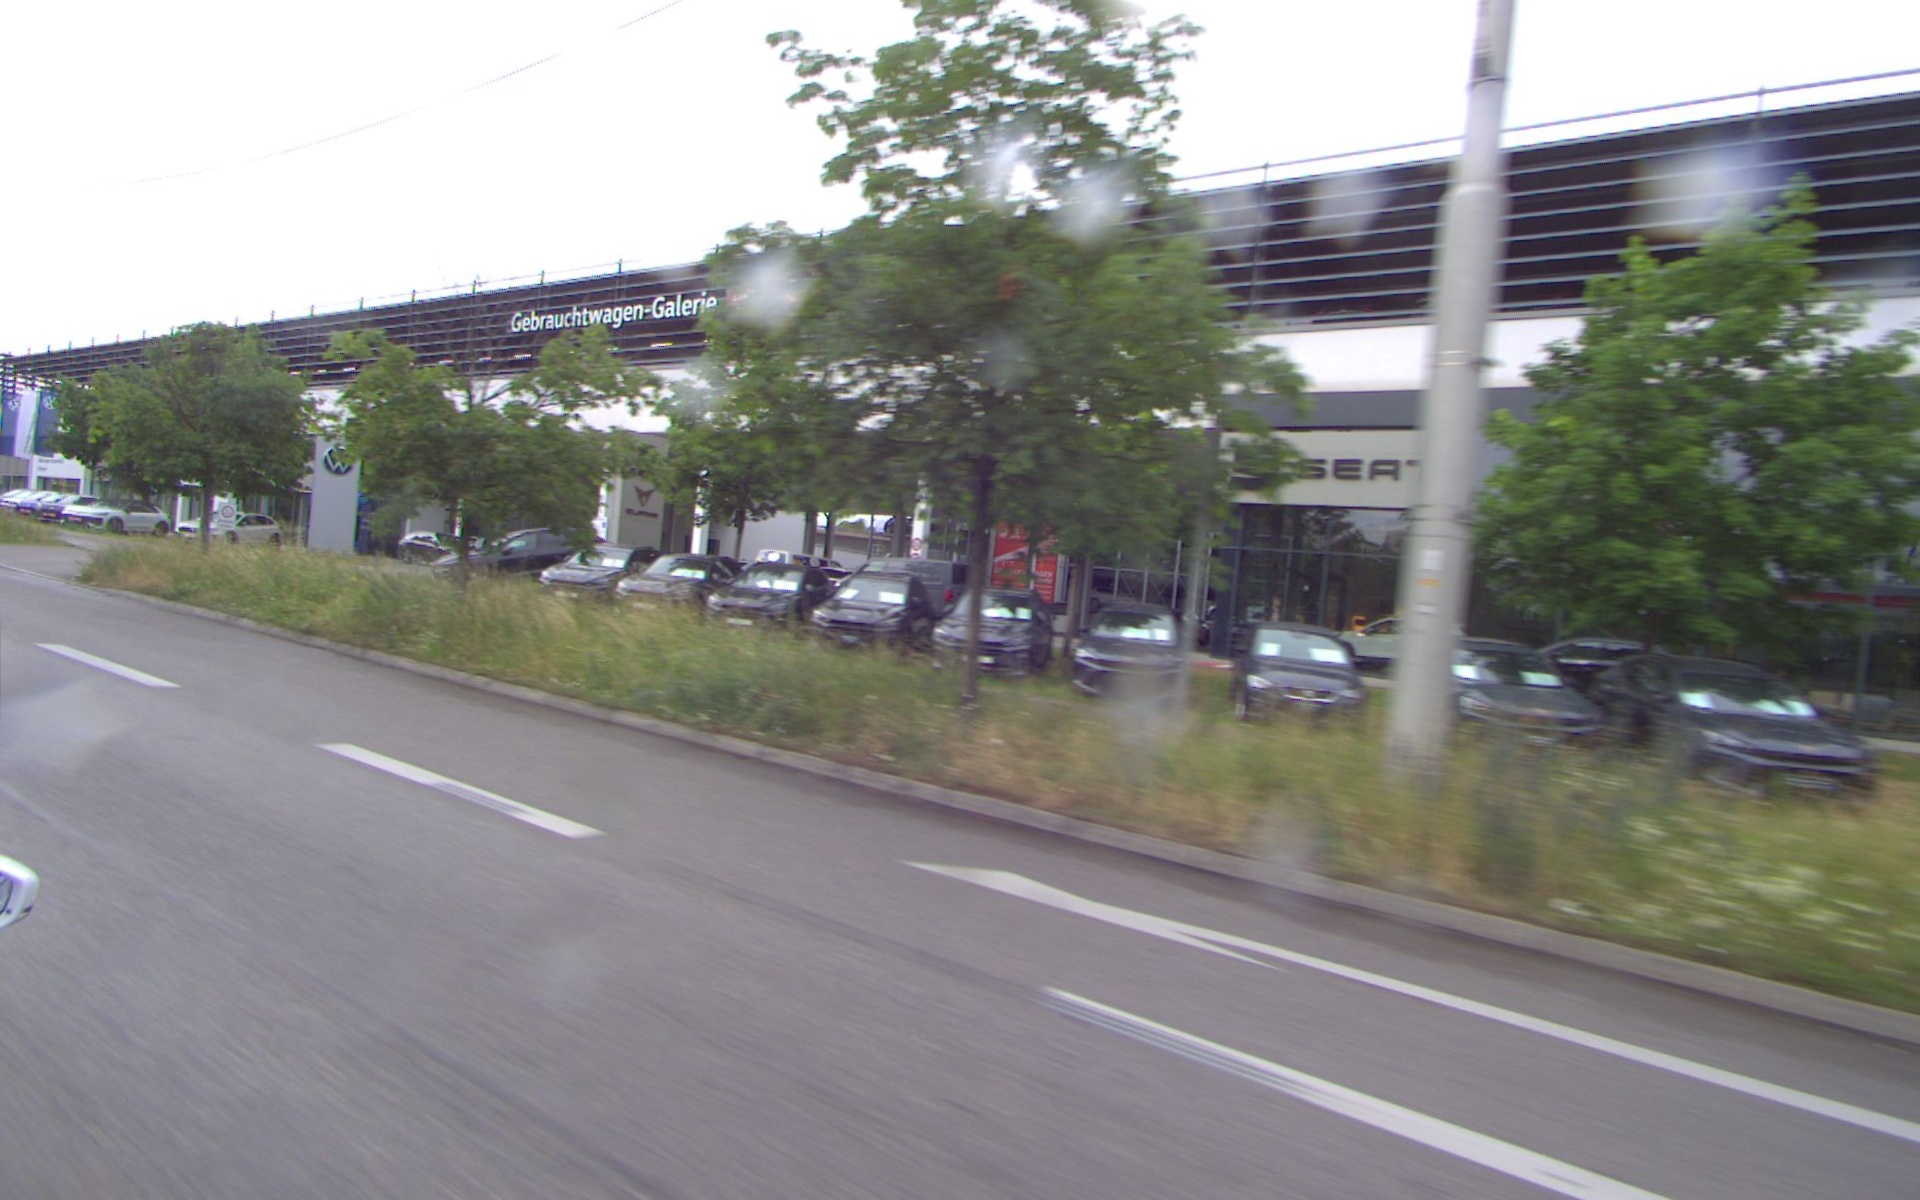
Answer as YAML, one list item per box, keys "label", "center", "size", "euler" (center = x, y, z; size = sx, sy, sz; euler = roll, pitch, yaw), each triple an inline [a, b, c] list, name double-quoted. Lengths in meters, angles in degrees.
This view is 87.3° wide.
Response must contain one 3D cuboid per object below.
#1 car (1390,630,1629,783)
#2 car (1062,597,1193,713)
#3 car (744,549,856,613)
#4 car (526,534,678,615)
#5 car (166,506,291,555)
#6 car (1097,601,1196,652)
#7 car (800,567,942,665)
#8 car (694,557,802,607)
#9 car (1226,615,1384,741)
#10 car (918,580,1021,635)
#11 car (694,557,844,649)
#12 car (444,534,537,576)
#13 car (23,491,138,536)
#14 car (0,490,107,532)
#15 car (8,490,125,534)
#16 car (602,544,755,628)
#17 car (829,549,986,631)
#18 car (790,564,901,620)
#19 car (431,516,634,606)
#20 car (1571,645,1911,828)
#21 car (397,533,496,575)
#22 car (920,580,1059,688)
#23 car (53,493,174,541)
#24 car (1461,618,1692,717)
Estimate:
- label: "car"
  center: [7.509, 1.337, 14.231]
  size: [1.759, 1.554, 4.151]
  euler: [6, 1, 13]
- label: "car"
  center: [2.951, 0.822, 17.057]
  size: [1.796, 1.548, 4.151]
  euler: [6, 1, 13]
- label: "car"
  center: [-6.077, -0.702, 38.575]
  size: [1.913, 2.001, 4.030]
  euler: [6, 0, 32]
- label: "car"
  center: [-8.621, -0.585, 24.658]
  size: [1.834, 1.634, 4.333]
  euler: [6, 1, 4]
- label: "car"
  center: [-27.735, -2.590, 38.324]
  size: [1.715, 1.484, 4.097]
  euler: [5, 1, 0]
- label: "car"
  center: [8.768, 1.228, 47.321]
  size: [4.032, 2.039, 1.994]
  euler: [5, 0, 33]
- label: "car"
  center: [-1.642, 0.280, 20.083]
  size: [1.792, 1.590, 4.151]
  euler: [6, 1, 8]
- label: "car"
  center: [-8.361, -0.688, 40.037]
  size: [1.873, 1.556, 3.990]
  euler: [6, 0, 32]
- label: "car"
  center: [5.217, 1.083, 15.716]
  size: [1.759, 1.477, 4.151]
  euler: [6, 1, 13]
- label: "car"
  center: [0.394, 0.290, 34.831]
  size: [1.695, 1.532, 4.037]
  euler: [6, 0, 30]
- label: "car"
  center: [-3.953, 0.047, 21.570]
  size: [1.792, 1.625, 4.151]
  euler: [6, 1, 8]
- label: "car"
  center: [-23.141, -2.183, 49.674]
  size: [1.611, 1.607, 3.819]
  euler: [6, 0, 32]
- label: "car"
  center: [-39.115, -3.800, 44.885]
  size: [1.767, 1.589, 4.183]
  euler: [5, 1, -8]
- label: "car"
  center: [-44.635, -4.341, 49.281]
  size: [1.821, 1.647, 4.353]
  euler: [5, 1, 3]
- label: "car"
  center: [-41.762, -4.070, 47.174]
  size: [1.766, 1.589, 4.187]
  euler: [5, 1, -2]
- label: "car"
  center: [-6.314, -0.308, 23.101]
  size: [1.834, 1.582, 4.151]
  euler: [6, 1, 6]
- label: "car"
  center: [-1.630, -0.318, 30.642]
  size: [4.357, 1.963, 1.888]
  euler: [7, 1, 32]
- label: "car"
  center: [-4.134, -0.275, 36.989]
  size: [1.873, 1.652, 3.990]
  euler: [6, 0, 32]
- label: "car"
  center: [-11.389, -1.007, 26.930]
  size: [4.673, 1.901, 1.808]
  euler: [5, 2, -34]
- label: "car"
  center: [9.512, 1.531, 12.735]
  size: [1.700, 1.597, 4.056]
  euler: [6, 1, 13]
- label: "car"
  center: [-22.920, -2.066, 44.843]
  size: [4.617, 1.487, 1.780]
  euler: [6, 1, 32]
- label: "car"
  center: [0.669, 0.552, 18.617]
  size: [1.873, 1.590, 4.151]
  euler: [6, 1, 10]
- label: "car"
  center: [-35.821, -3.482, 42.734]
  size: [1.766, 1.589, 4.096]
  euler: [5, 1, -4]
- label: "car"
  center: [12.744, 1.364, 21.009]
  size: [3.834, 1.491, 1.667]
  euler: [7, 1, 32]
